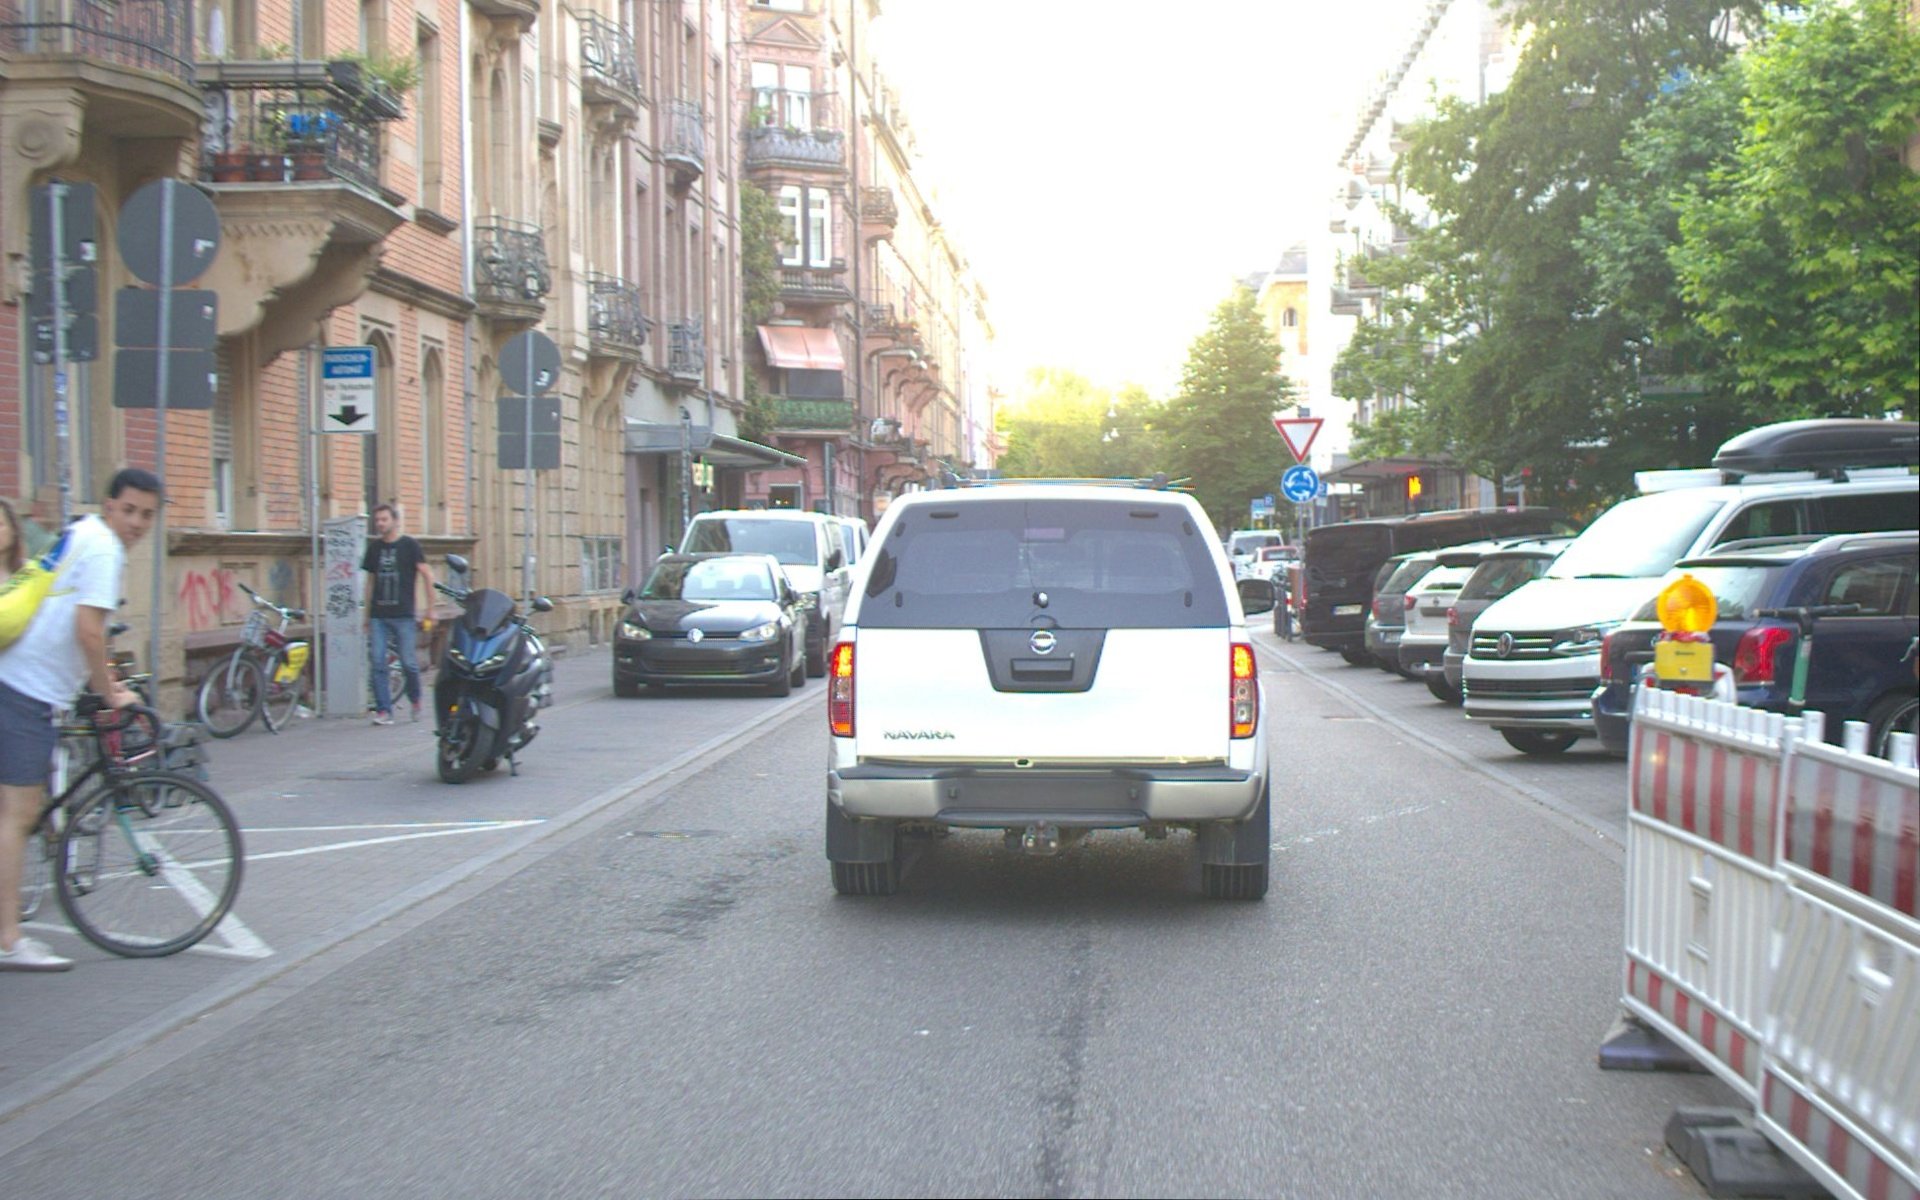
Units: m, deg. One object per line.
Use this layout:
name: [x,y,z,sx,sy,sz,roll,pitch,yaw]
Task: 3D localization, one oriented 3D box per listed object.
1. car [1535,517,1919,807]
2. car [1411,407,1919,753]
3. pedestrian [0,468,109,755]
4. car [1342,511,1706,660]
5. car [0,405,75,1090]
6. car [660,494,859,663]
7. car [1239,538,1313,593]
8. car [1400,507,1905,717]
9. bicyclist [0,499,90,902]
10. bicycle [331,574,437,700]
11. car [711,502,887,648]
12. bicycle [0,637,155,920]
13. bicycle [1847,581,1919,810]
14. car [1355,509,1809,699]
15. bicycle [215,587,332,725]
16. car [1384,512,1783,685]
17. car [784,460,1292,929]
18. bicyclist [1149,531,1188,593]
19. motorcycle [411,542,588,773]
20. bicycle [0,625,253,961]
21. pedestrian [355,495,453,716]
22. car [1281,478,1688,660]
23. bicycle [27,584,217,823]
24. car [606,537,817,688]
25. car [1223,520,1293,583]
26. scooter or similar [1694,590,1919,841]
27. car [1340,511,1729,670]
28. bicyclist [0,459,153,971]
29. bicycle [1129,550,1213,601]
car: [5.495,0.282,19.909,3.854,1.511,1.848,-2,1,-23]
car: [6.007,-0.209,25.439,4.922,2.354,2.000,-2,1,-23]
pedestrian: [-5.746,0.071,21.798,0.463,1.783,0.641,1,0,6]
car: [6.926,-0.198,42.148,4.095,1.546,1.819,-4,2,-29]
car: [-3.400,0.391,7.359,1.770,1.783,4.587,0,0,1]
car: [-2.346,-0.276,41.426,1.837,1.915,4.845,0,1,3]
car: [9.034,-0.984,98.411,1.835,1.536,4.000,1,0,2]
car: [6.255,0.068,30.976,4.153,1.585,1.886,-4,2,-28]
bicyclist: [-3.810,0.391,13.791,0.466,1.585,0.487,1,0,6]
bicycle: [-5.235,0.320,31.356,0.749,1.097,2.026,1,0,-4]
car: [-2.164,-0.363,47.568,2.109,1.915,5.026,0,1,1]
bicycle: [-3.785,0.698,14.081,0.466,1.064,1.520,1,0,6]
bicycle: [5.262,0.492,17.135,0.495,1.132,1.814,-3,2,-29]
car: [6.144,0.011,33.905,4.095,1.585,1.819,-4,2,-28]
bicycle: [-5.294,0.415,26.586,0.448,1.026,1.740,1,0,3]
car: [6.751,-0.040,37.089,4.096,1.585,1.818,-4,2,-35]
car: [0.538,0.349,15.964,1.938,1.804,5.000,1,0,6]
bicyclist: [4.930,-0.899,81.292,0.871,1.461,0.576,1,0,1]
motorcycle: [-2.928,0.344,22.036,0.685,1.400,2.014,1,0,5]
bicycle: [-3.423,0.666,12.071,1.776,1.151,0.521,1,0,-19]
pedestrian: [-4.625,0.040,28.641,0.682,1.804,0.961,1,0,-3]
car: [6.982,-0.435,45.484,5.420,2.065,1.933,-4,2,-35]
bicycle: [-4.288,0.503,17.693,0.412,1.156,1.837,1,0,3]
car: [-2.513,0.092,35.632,1.837,1.466,4.173,0,1,1]
car: [9.274,-1.500,107.186,1.942,1.927,4.000,1,0,2]
scooter or similar: [4.363,0.543,17.085,0.654,1.146,1.485,-3,2,-21]
car: [6.609,-0.129,39.482,4.095,1.546,1.819,-4,2,-29]
bicyclist: [-3.267,0.375,11.806,0.788,1.698,0.528,1,0,24]
bicycle: [4.979,-0.581,81.284,1.929,1.167,0.596,1,0,0]
